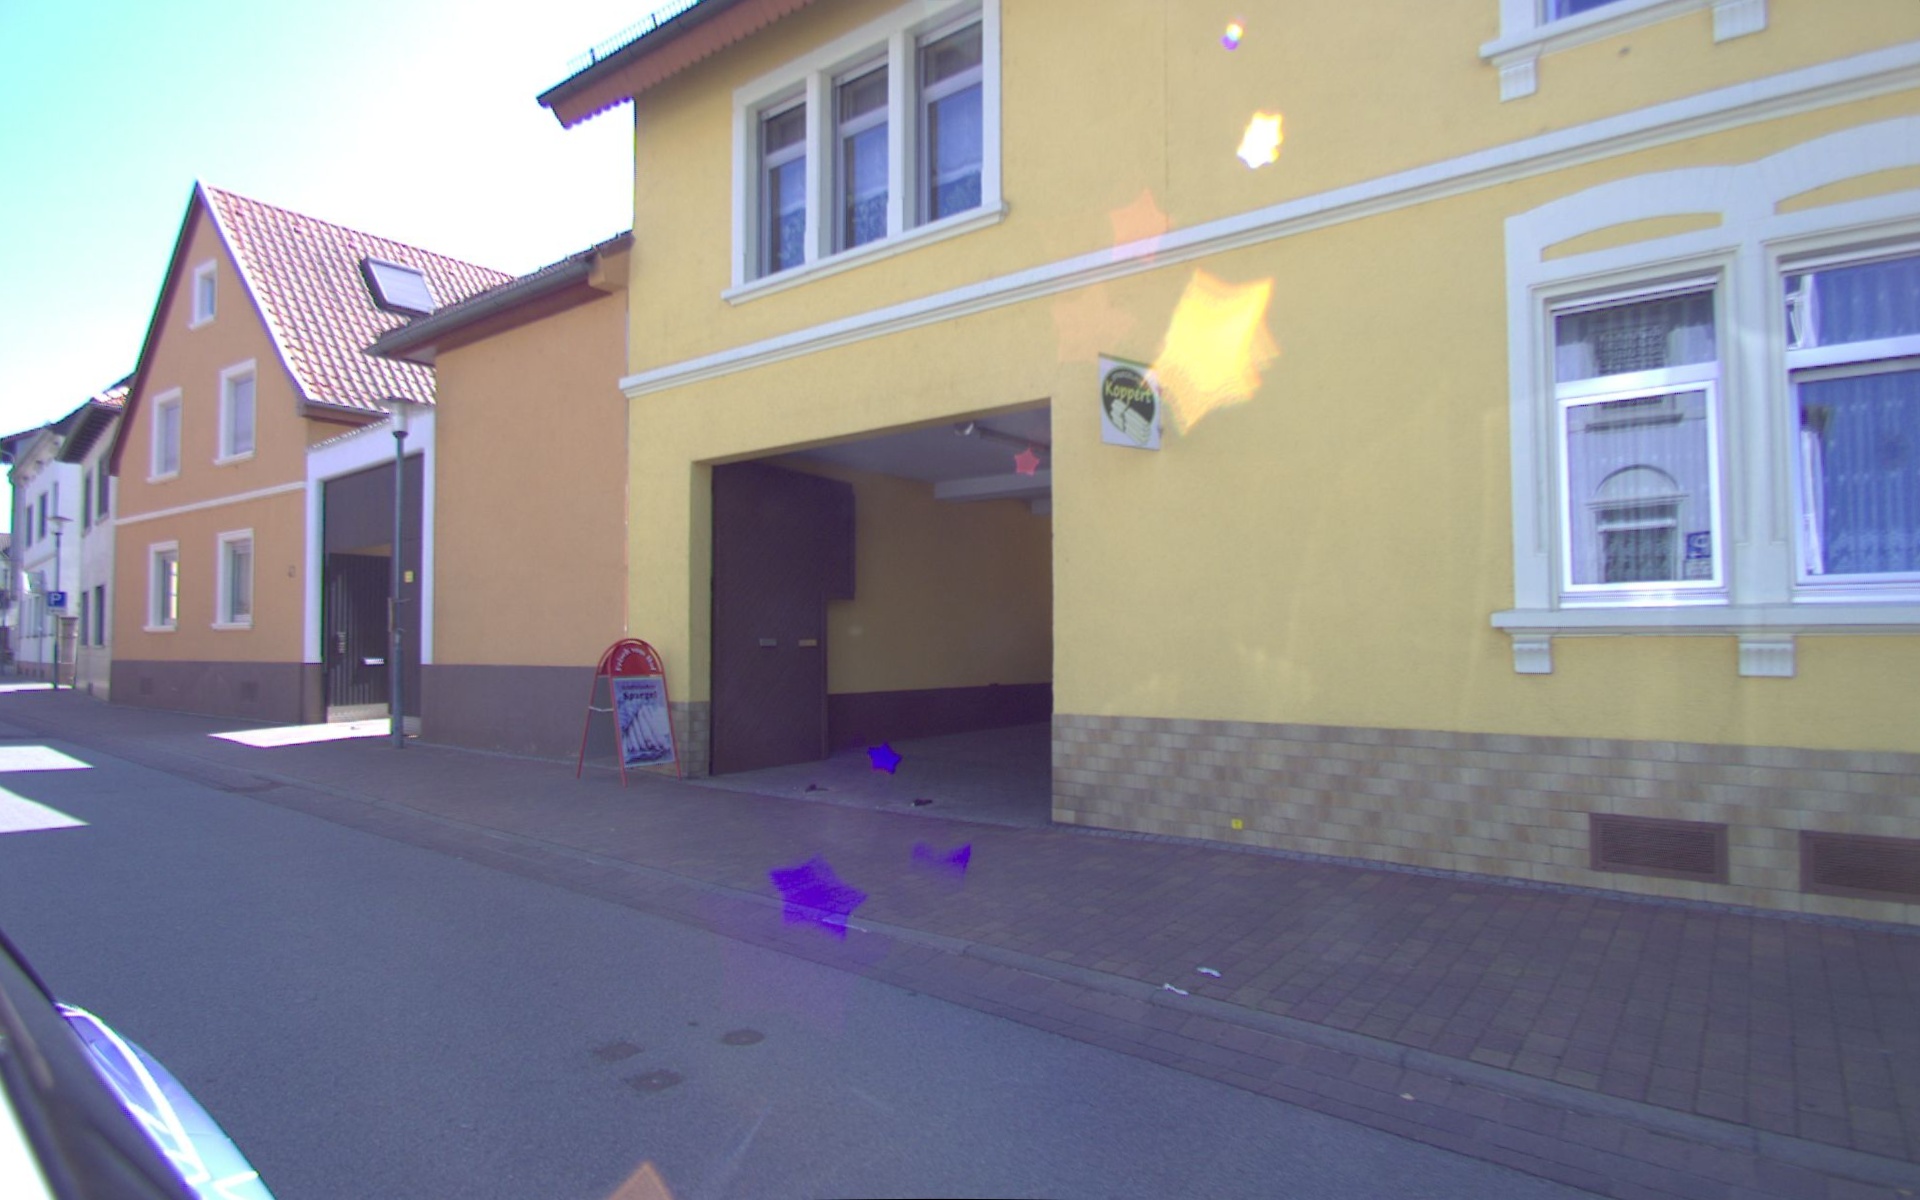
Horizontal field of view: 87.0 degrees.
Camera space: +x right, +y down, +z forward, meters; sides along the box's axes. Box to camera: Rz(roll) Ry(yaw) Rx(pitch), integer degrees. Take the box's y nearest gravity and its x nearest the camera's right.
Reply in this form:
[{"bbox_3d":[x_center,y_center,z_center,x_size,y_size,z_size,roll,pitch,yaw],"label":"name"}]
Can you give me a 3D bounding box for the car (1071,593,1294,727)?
[{"bbox_3d":[3.689,0.909,16.317,1.997,1.863,3.949,-3,-3,38],"label":"car"}]
